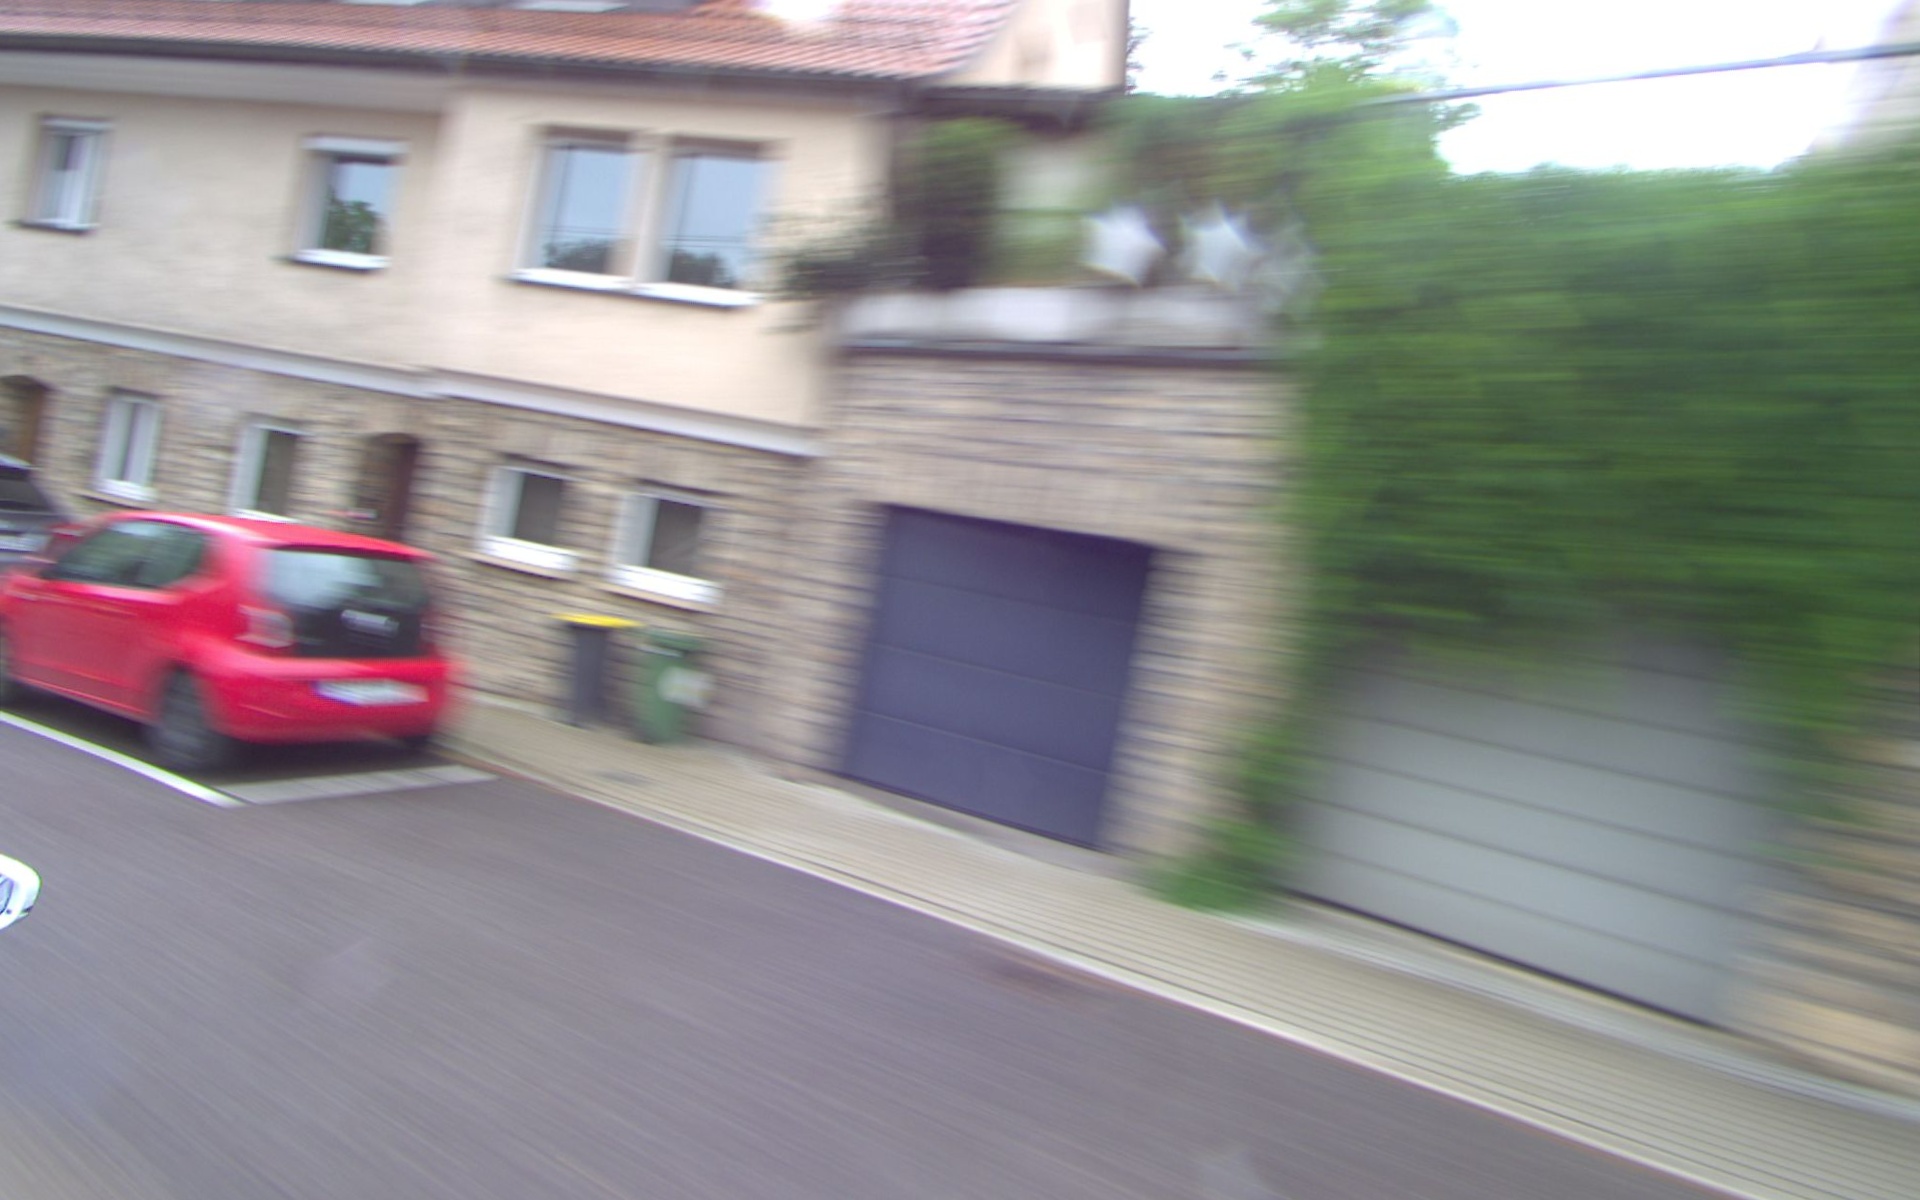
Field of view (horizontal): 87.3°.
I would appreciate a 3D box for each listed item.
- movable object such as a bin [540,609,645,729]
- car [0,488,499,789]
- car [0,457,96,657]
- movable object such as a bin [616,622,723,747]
[{"bbox_3d":[-3.175,0.579,8.705,0.499,0.936,0.588,9,3,27],"label":"movable object such as a bin"},{"bbox_3d":[-5.163,0.156,6.959,3.517,1.453,1.619,7,0,26],"label":"car"},{"bbox_3d":[-9.938,-0.655,8.709,4.329,1.625,1.620,9,1,18],"label":"car"},{"bbox_3d":[-2.436,0.690,8.447,0.505,0.936,0.596,9,3,27],"label":"movable object such as a bin"}]
